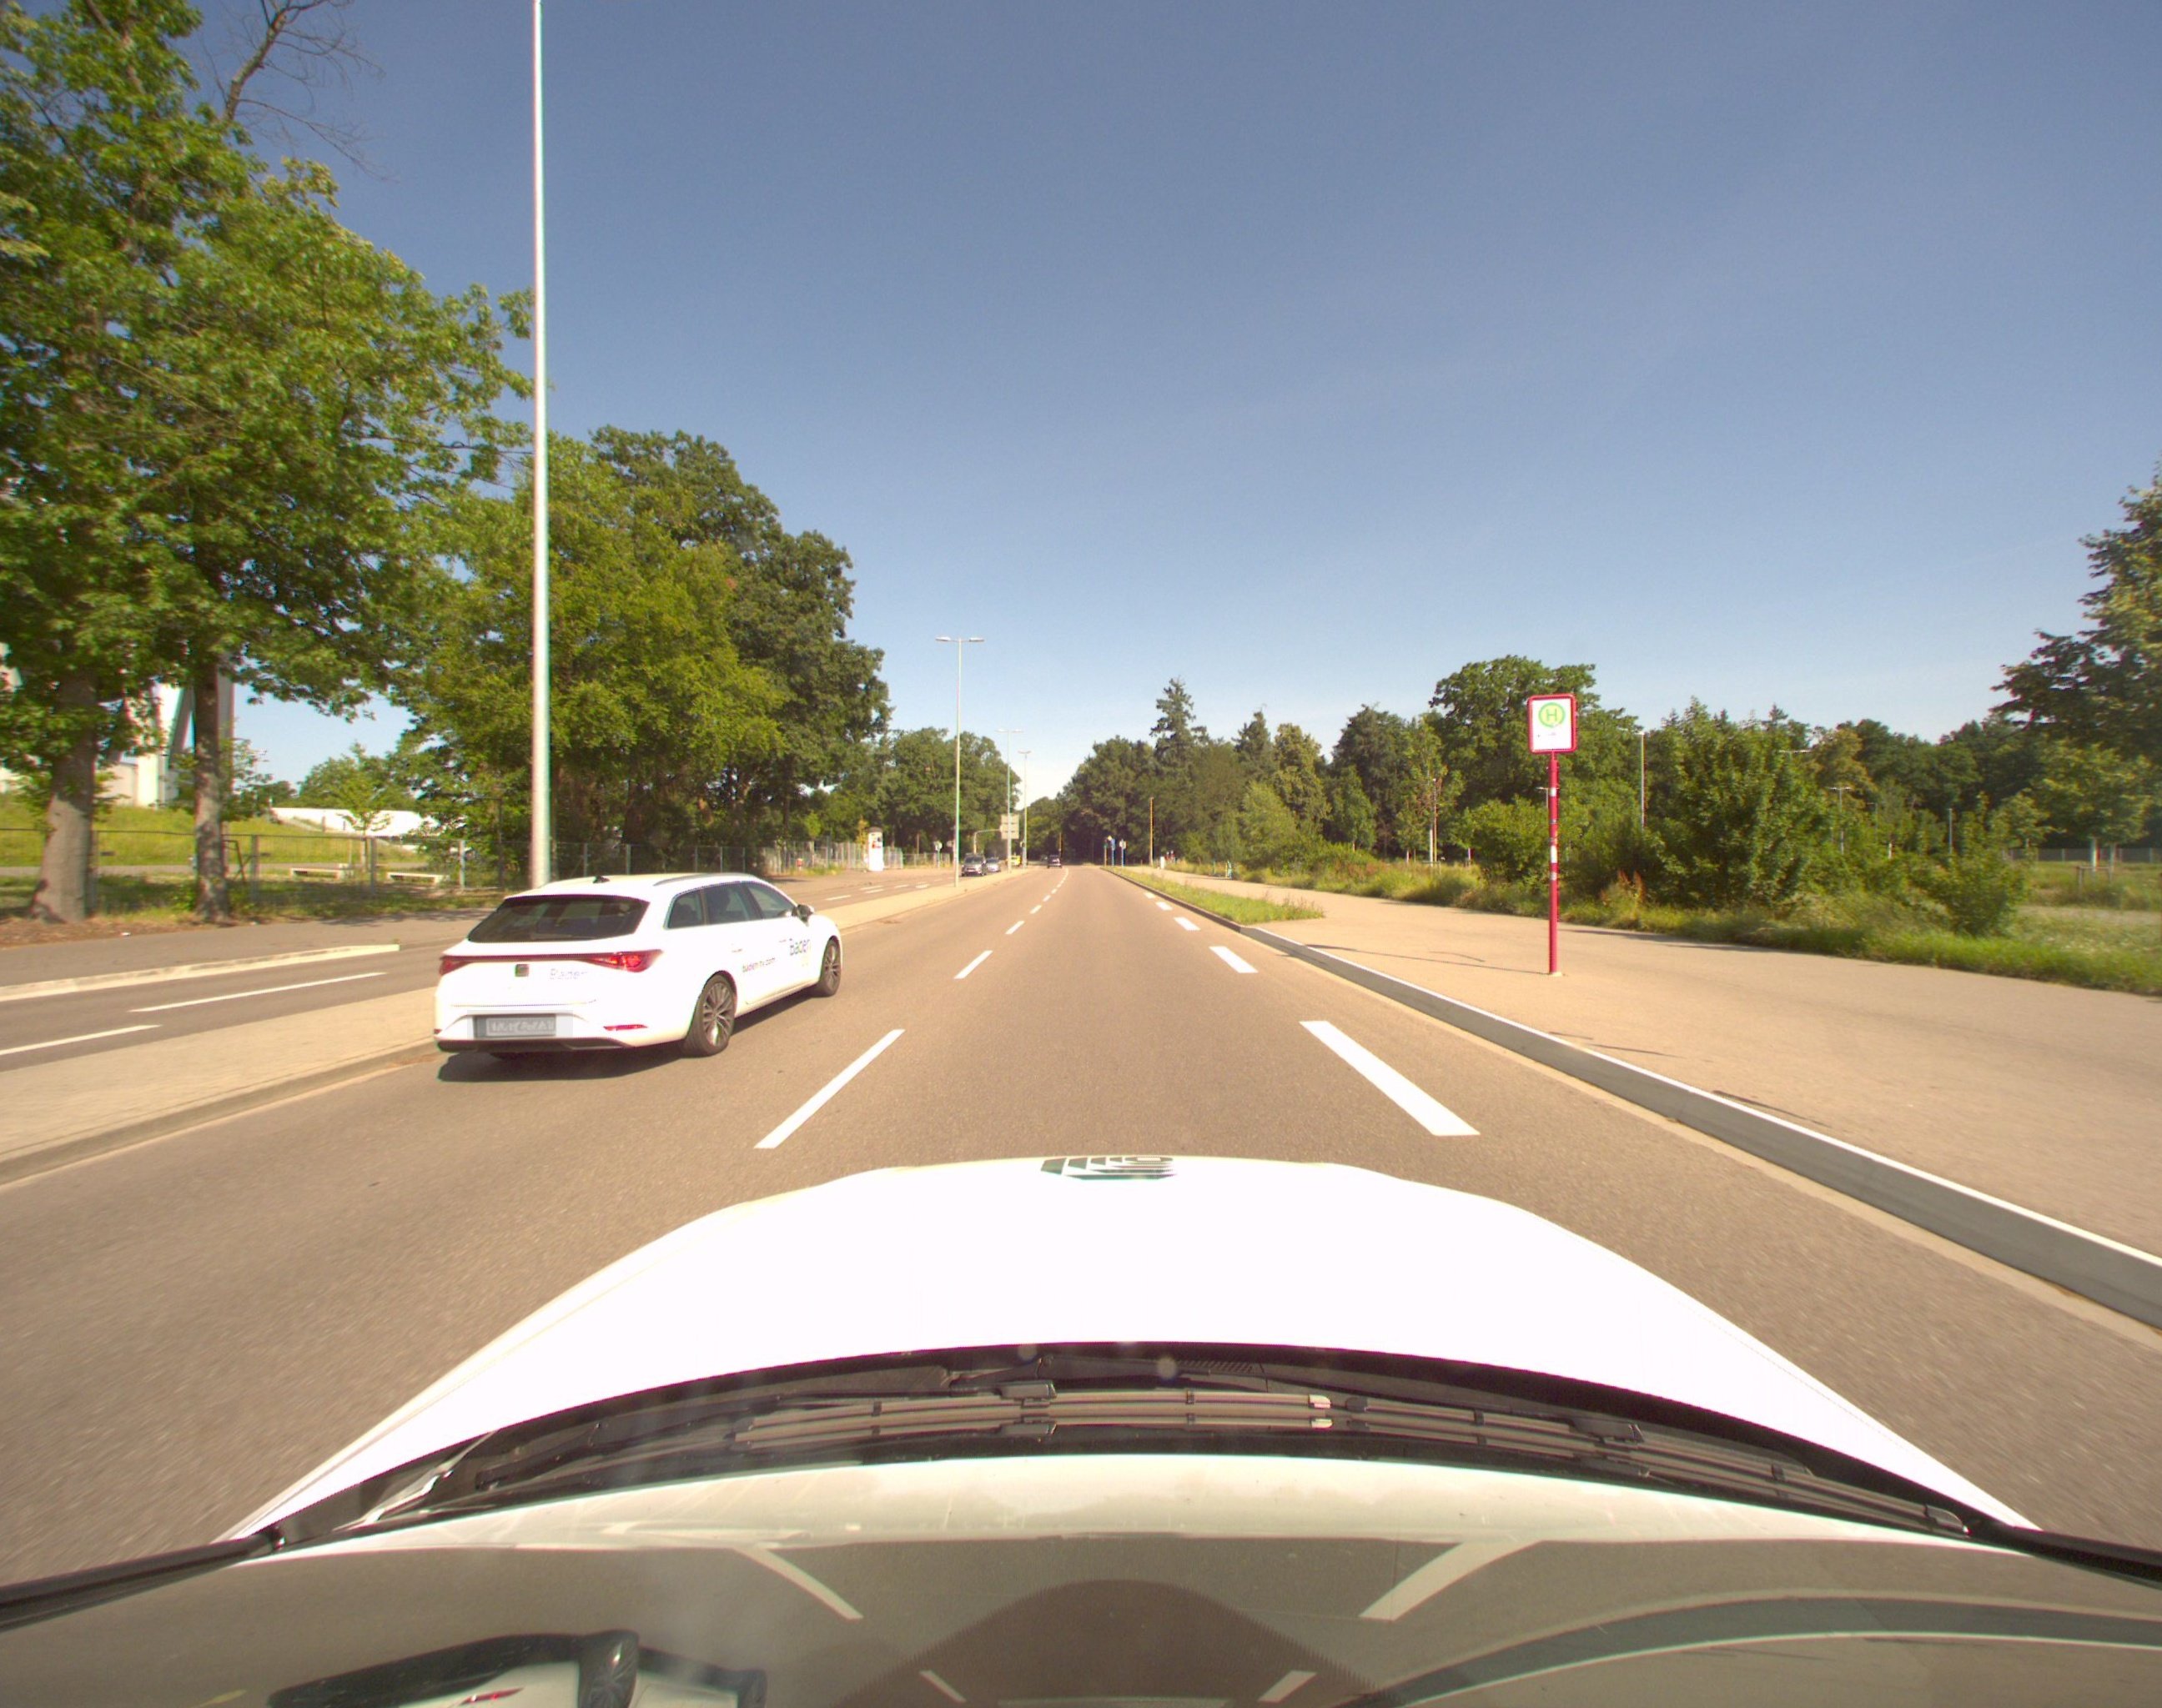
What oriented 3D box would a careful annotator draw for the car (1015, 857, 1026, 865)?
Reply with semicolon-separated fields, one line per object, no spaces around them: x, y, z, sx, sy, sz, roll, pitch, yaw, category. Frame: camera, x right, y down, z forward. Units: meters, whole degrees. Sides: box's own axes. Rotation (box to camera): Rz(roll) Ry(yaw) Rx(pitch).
-10.974;1.285;147.677;1.816;1.464;3.994;0;0;-4;car

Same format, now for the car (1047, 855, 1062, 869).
-3.253;0.967;100.052;1.682;1.544;4.148;-1;0;0;car

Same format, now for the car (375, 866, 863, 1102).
-3.671;0.888;7.696;1.718;1.427;4.723;-1;0;2;car

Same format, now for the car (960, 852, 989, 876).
-8.977;0.858;68.954;1.836;1.932;4.627;-1;0;-1;car

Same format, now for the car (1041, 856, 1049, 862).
-9.103;1.271;205.151;1.937;1.420;4.287;0;0;-4;car

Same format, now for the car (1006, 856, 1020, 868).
-10.004;1.184;120.028;1.841;1.618;3.996;0;0;-3;car

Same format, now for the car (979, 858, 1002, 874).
-9.155;1.205;82.798;1.904;1.585;3.998;0;0;-1;car
